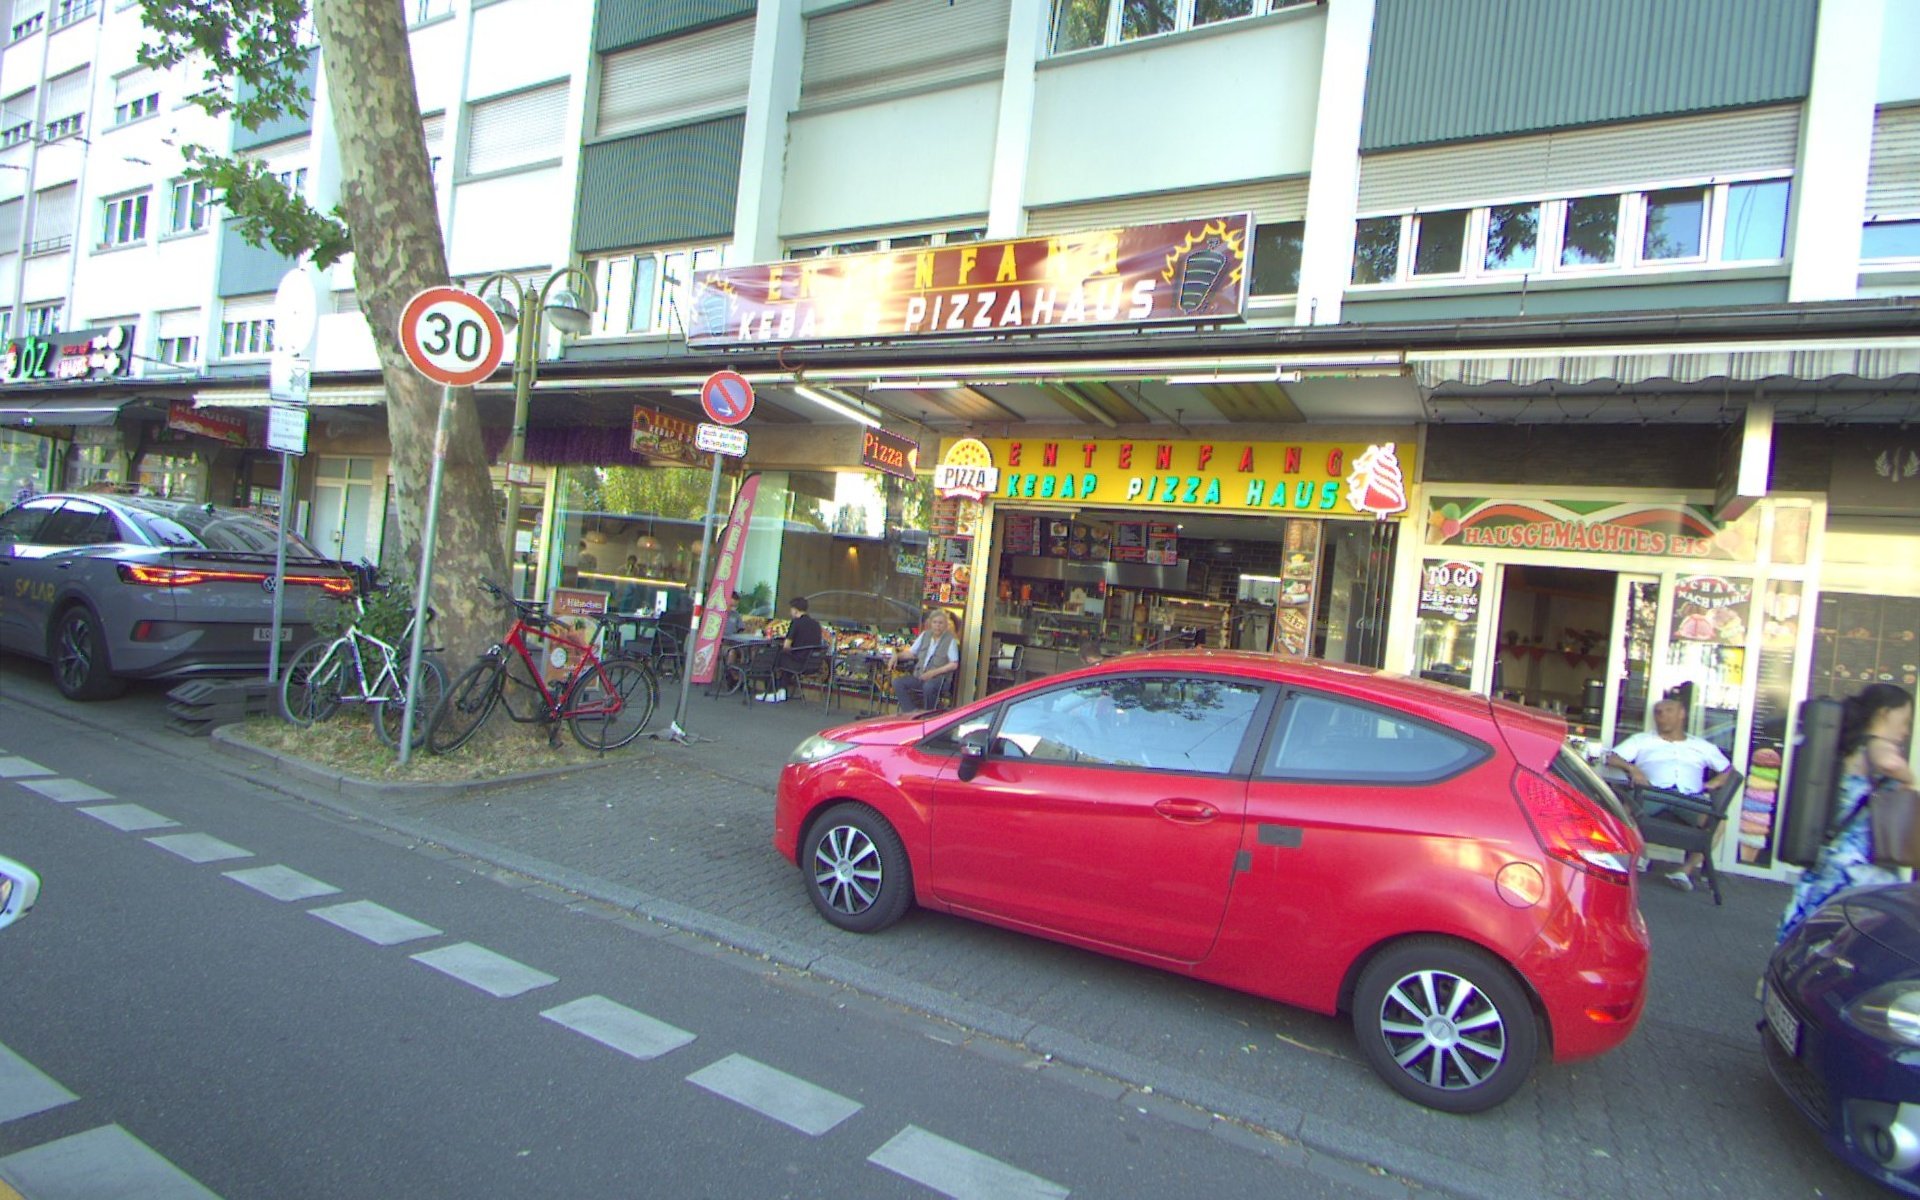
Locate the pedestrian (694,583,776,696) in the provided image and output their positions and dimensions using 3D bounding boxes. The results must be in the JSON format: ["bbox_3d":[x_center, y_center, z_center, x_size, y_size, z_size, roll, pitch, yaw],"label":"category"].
[{"bbox_3d":[-2.696,0.469,12.047,0.680,1.261,0.557,7,2,38],"label":"pedestrian"}]

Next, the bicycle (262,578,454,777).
[{"bbox_3d":[-4.230,0.504,7.034,1.421,1.169,0.553,6,0,36],"label":"bicycle"}]

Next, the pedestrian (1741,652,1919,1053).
[{"bbox_3d":[4.206,1.115,4.610,0.783,1.667,0.583,5,0,30],"label":"pedestrian"}]

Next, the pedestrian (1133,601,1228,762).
[{"bbox_3d":[2.314,0.843,10.521,0.589,1.566,0.700,7,0,34],"label":"pedestrian"}]

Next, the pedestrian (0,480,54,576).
[{"bbox_3d":[-17.290,-1.332,18.650,0.661,1.688,0.593,4,2,-42],"label":"pedestrian"}]

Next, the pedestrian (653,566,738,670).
[{"bbox_3d":[-3.752,0.251,14.340,0.958,1.350,0.830,6,0,-9],"label":"pedestrian"}]

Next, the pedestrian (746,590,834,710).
[{"bbox_3d":[-1.934,0.565,11.449,0.679,1.261,0.558,7,2,33],"label":"pedestrian"}]

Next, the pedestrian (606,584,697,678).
[{"bbox_3d":[-3.975,0.396,13.033,0.940,1.094,0.639,7,0,-9],"label":"pedestrian"}]

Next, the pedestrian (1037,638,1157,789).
[{"bbox_3d":[1.259,1.009,9.233,0.798,1.225,0.654,7,2,28],"label":"pedestrian"}]

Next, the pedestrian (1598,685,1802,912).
[{"bbox_3d":[5.245,1.350,7.227,0.937,1.352,1.069,7,0,30],"label":"pedestrian"}]

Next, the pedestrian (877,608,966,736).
[{"bbox_3d":[-0.403,0.744,10.664,0.550,1.252,0.689,7,2,29],"label":"pedestrian"}]

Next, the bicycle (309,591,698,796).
[{"bbox_3d":[-3.008,0.557,6.895,0.547,1.171,2.377,7,4,44],"label":"bicycle"}]

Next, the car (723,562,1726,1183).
[{"bbox_3d":[0.983,0.821,4.726,3.757,1.617,1.782,6,3,28],"label":"car"}]

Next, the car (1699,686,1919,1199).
[{"bbox_3d":[4.379,1.262,2.667,3.549,1.488,1.767,6,3,29],"label":"car"}]

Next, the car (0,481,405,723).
[{"bbox_3d":[-7.349,-0.116,9.063,4.292,1.603,1.996,7,2,27],"label":"car"}]

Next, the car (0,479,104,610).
[{"bbox_3d":[-13.922,-0.921,13.641,4.292,1.603,1.996,7,2,27],"label":"car"}]
